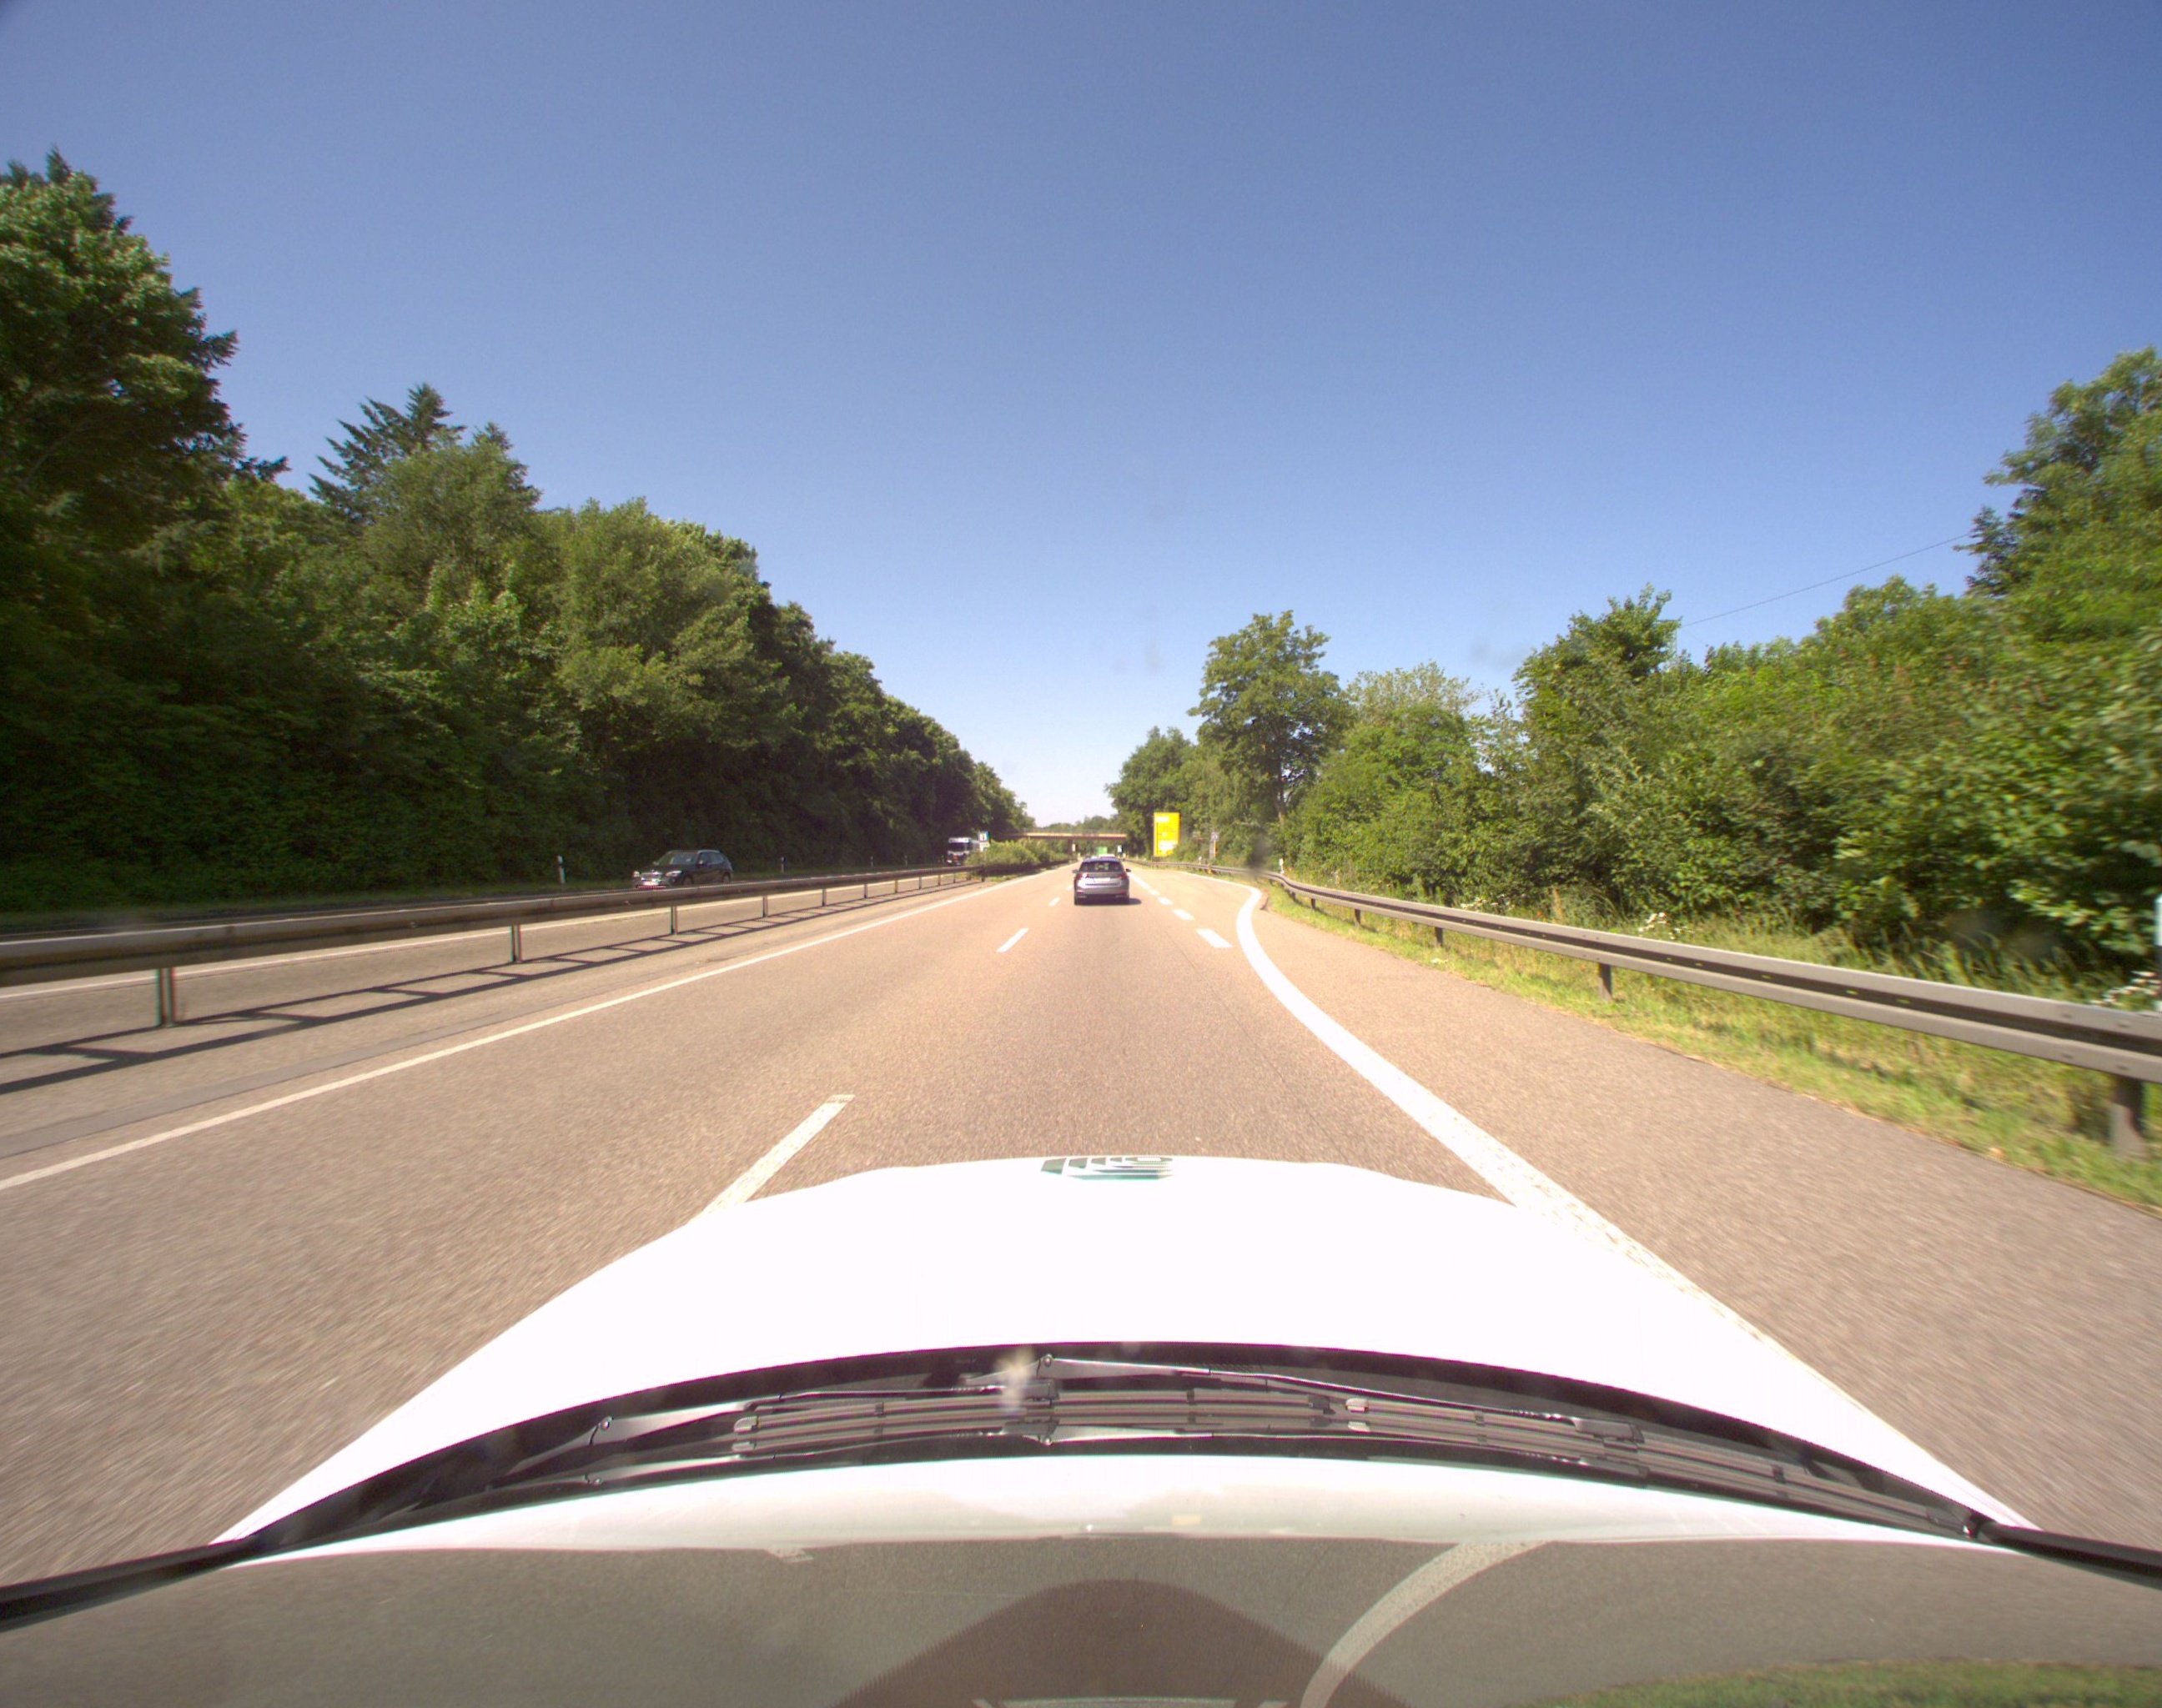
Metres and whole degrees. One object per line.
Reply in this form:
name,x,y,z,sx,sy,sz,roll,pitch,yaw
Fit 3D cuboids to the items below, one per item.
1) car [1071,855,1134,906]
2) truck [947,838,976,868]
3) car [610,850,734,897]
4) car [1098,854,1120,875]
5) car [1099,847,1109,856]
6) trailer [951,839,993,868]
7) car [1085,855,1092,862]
car,0.745,0.785,25.785,1.832,1.472,3.626,0,0,3
truck,-13.010,-0.081,88.811,2.416,3.258,4.002,0,0,2
car,-14.270,0.655,28.765,1.834,1.510,4.555,0,0,4
car,2.037,0.745,58.746,1.516,1.446,3.343,0,0,3
car,6.824,-0.765,241.164,2.738,2.654,4.001,0,0,2
trailer,-12.731,-0.017,96.295,2.483,3.235,14.438,0,0,2
car,2.245,1.269,233.923,1.986,2.014,4.001,0,0,2
